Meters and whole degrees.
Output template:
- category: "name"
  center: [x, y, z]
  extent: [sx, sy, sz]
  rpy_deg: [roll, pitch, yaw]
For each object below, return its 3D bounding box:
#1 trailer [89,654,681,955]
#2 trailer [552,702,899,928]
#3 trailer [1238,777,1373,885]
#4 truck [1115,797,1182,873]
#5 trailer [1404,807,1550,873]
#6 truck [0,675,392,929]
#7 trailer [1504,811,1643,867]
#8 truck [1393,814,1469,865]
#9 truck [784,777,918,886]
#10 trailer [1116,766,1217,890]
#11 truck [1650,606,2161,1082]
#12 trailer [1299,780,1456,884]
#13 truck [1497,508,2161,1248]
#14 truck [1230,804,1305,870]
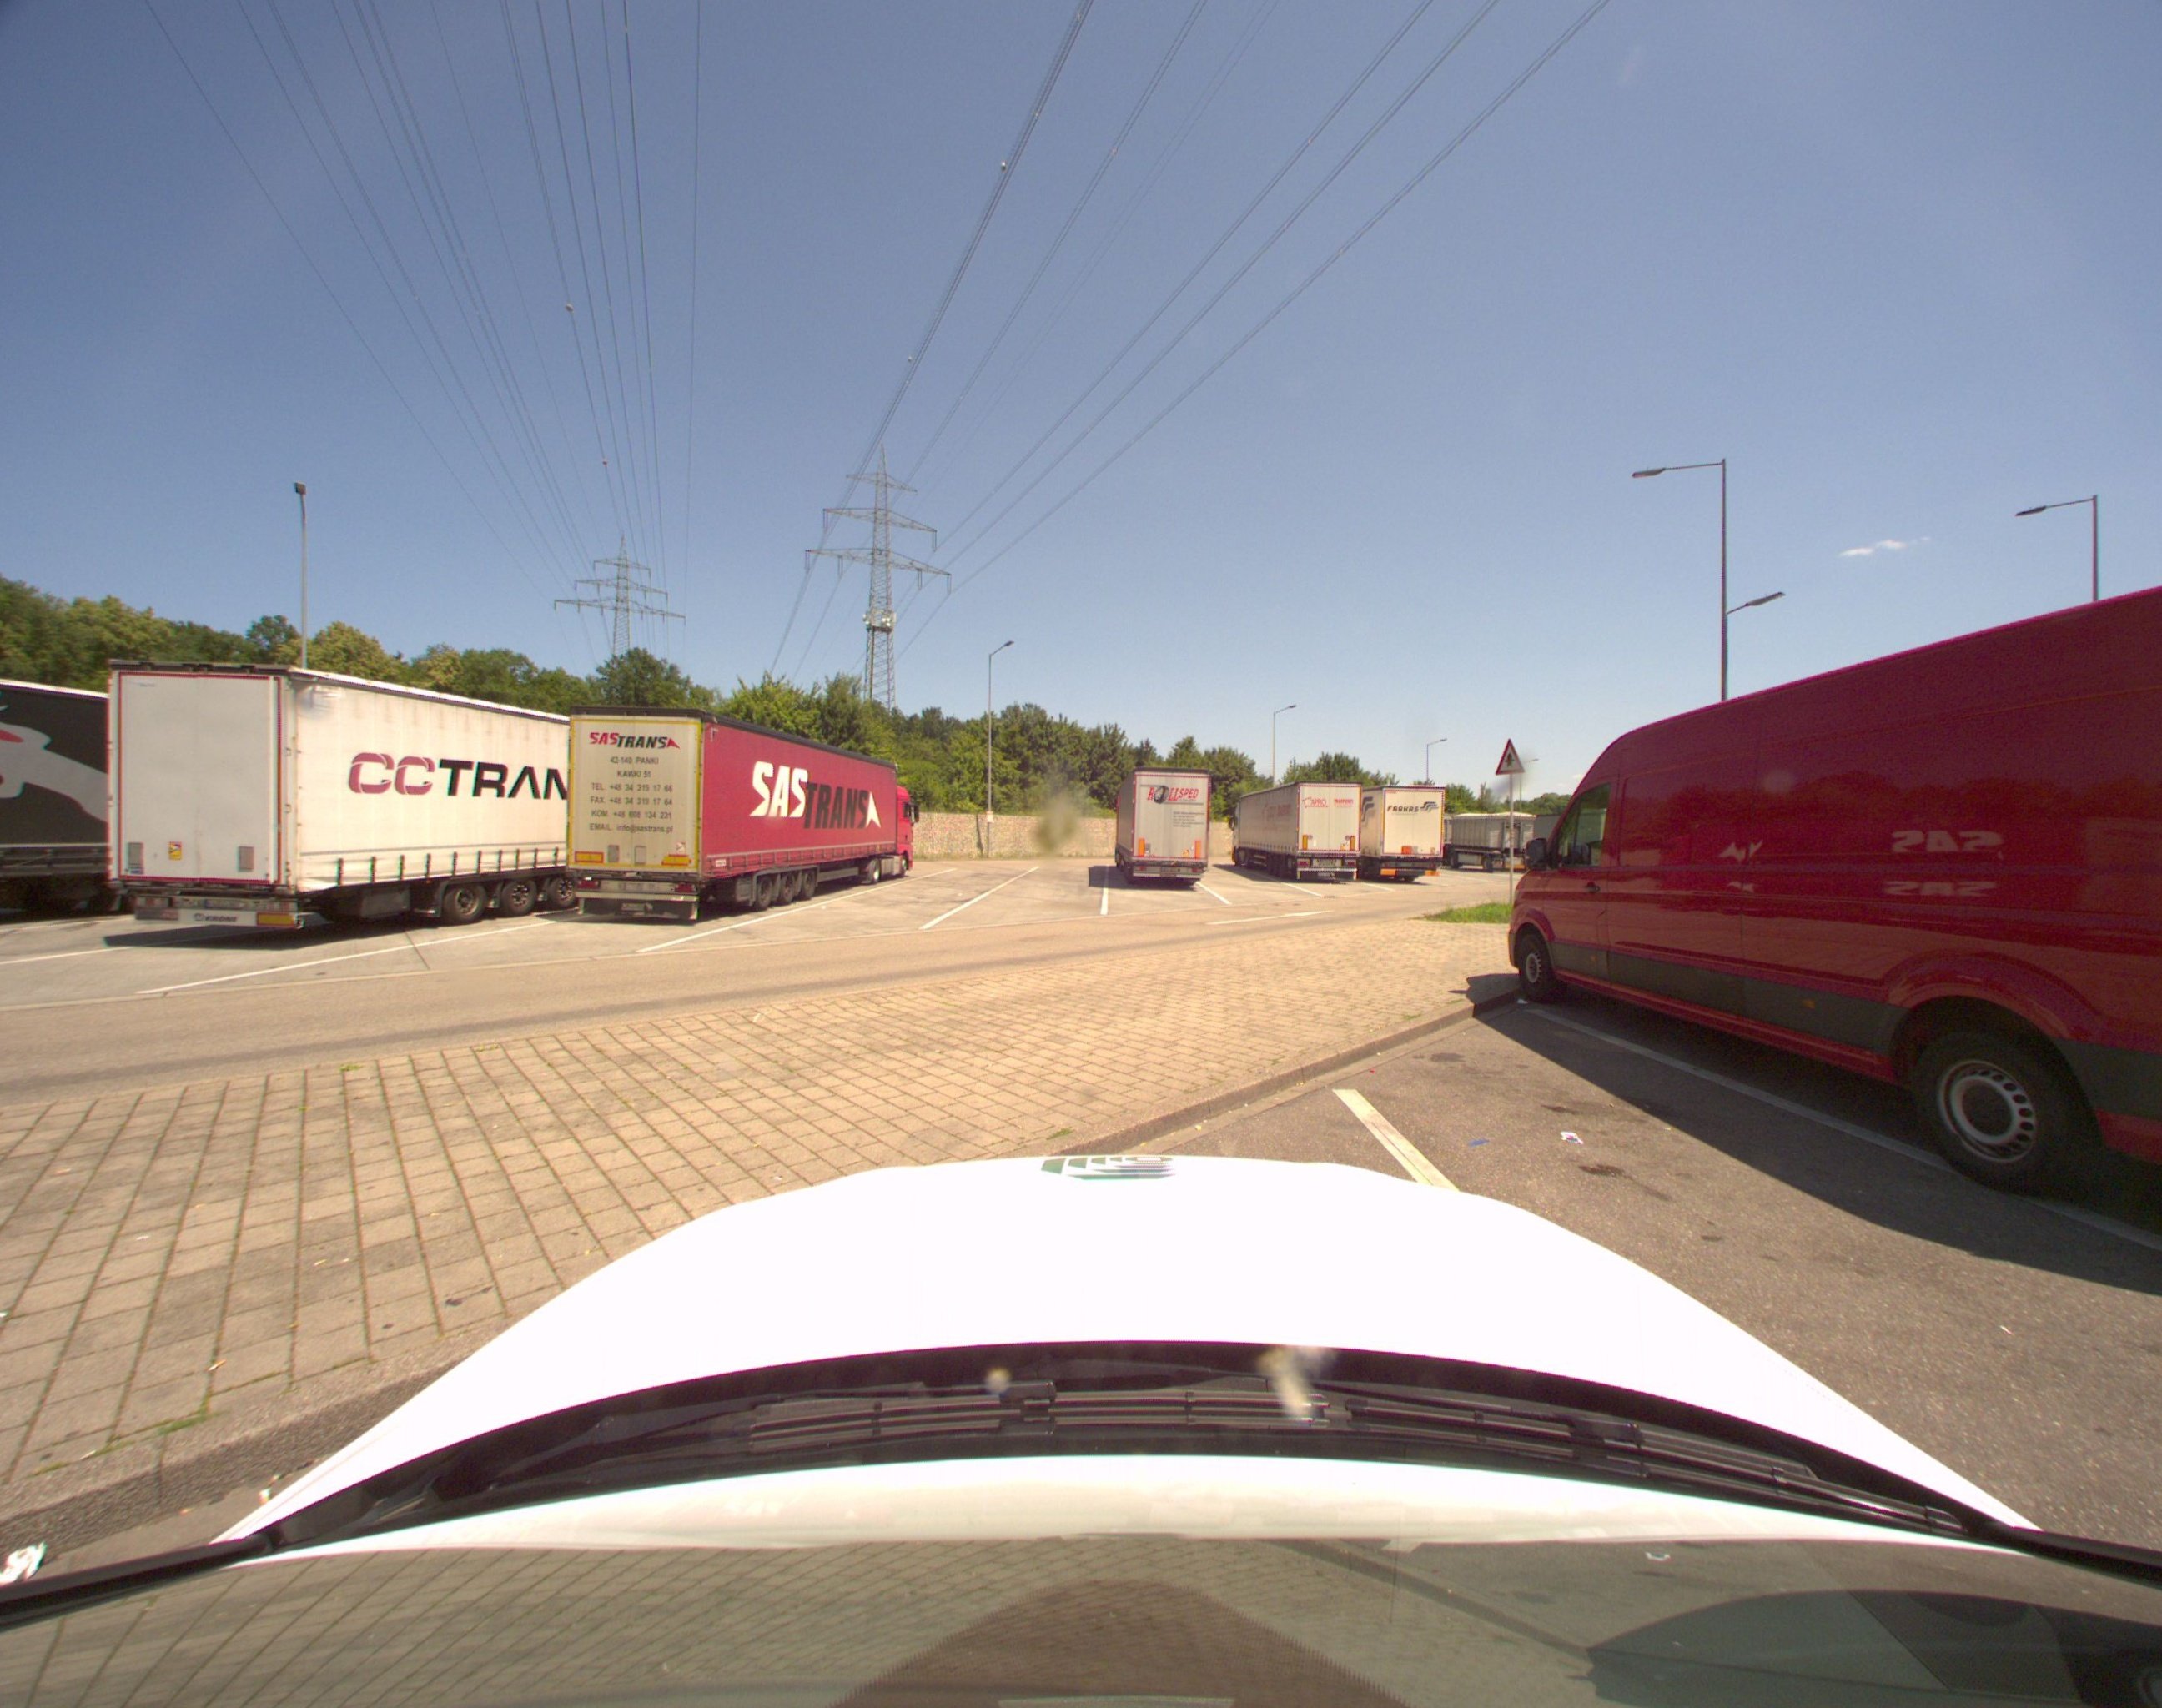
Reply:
- category: "trailer"
  center: [-12.154, -0.844, 16.429]
  extent: [2.696, 4.101, 10.395]
  rpy_deg: [1, 2, 2]
- category: "trailer"
  center: [-8.040, -0.929, 21.733]
  extent: [2.811, 4.070, 13.770]
  rpy_deg: [1, 2, 2]
- category: "trailer"
  center: [9.986, -1.118, 38.308]
  extent: [2.847, 4.109, 13.770]
  rpy_deg: [1, 2, 2]
- category: "truck"
  center: [3.145, -0.939, 39.418]
  extent: [2.855, 3.362, 5.977]
  rpy_deg: [1, 2, 2]
- category: "trailer"
  center: [24.445, -0.989, 51.508]
  extent: [2.847, 3.599, 13.770]
  rpy_deg: [1, 2, 2]
- category: "truck"
  center: [-18.542, -0.943, 15.836]
  extent: [2.696, 4.070, 8.694]
  rpy_deg: [1, 2, 2]
- category: "trailer"
  center: [38.225, -1.288, 64.190]
  extent: [2.847, 3.904, 13.770]
  rpy_deg: [1, 2, 2]
- category: "truck"
  center: [24.631, -1.077, 57.604]
  extent: [2.855, 3.362, 5.977]
  rpy_deg: [1, 2, 2]
- category: "truck"
  center: [-7.826, -0.796, 28.550]
  extent: [2.801, 3.362, 5.977]
  rpy_deg: [1, 2, 2]
- category: "trailer"
  center: [3.054, -1.048, 33.216]
  extent: [2.848, 3.971, 13.767]
  rpy_deg: [1, 2, 1]
- category: "truck"
  center: [8.009, -0.068, 6.893]
  extent: [2.406, 2.906, 6.466]
  rpy_deg: [-1, 0, 6]
- category: "trailer"
  center: [13.614, -1.092, 39.232]
  extent: [2.847, 4.109, 13.770]
  rpy_deg: [1, 2, 2]
- category: "truck"
  center: [5.150, 0.082, 5.460]
  extent: [2.001, 2.651, 6.466]
  rpy_deg: [-1, 0, 6]
- category: "truck"
  center: [10.184, -0.976, 45.072]
  extent: [2.855, 3.362, 5.977]
  rpy_deg: [1, 2, 2]
